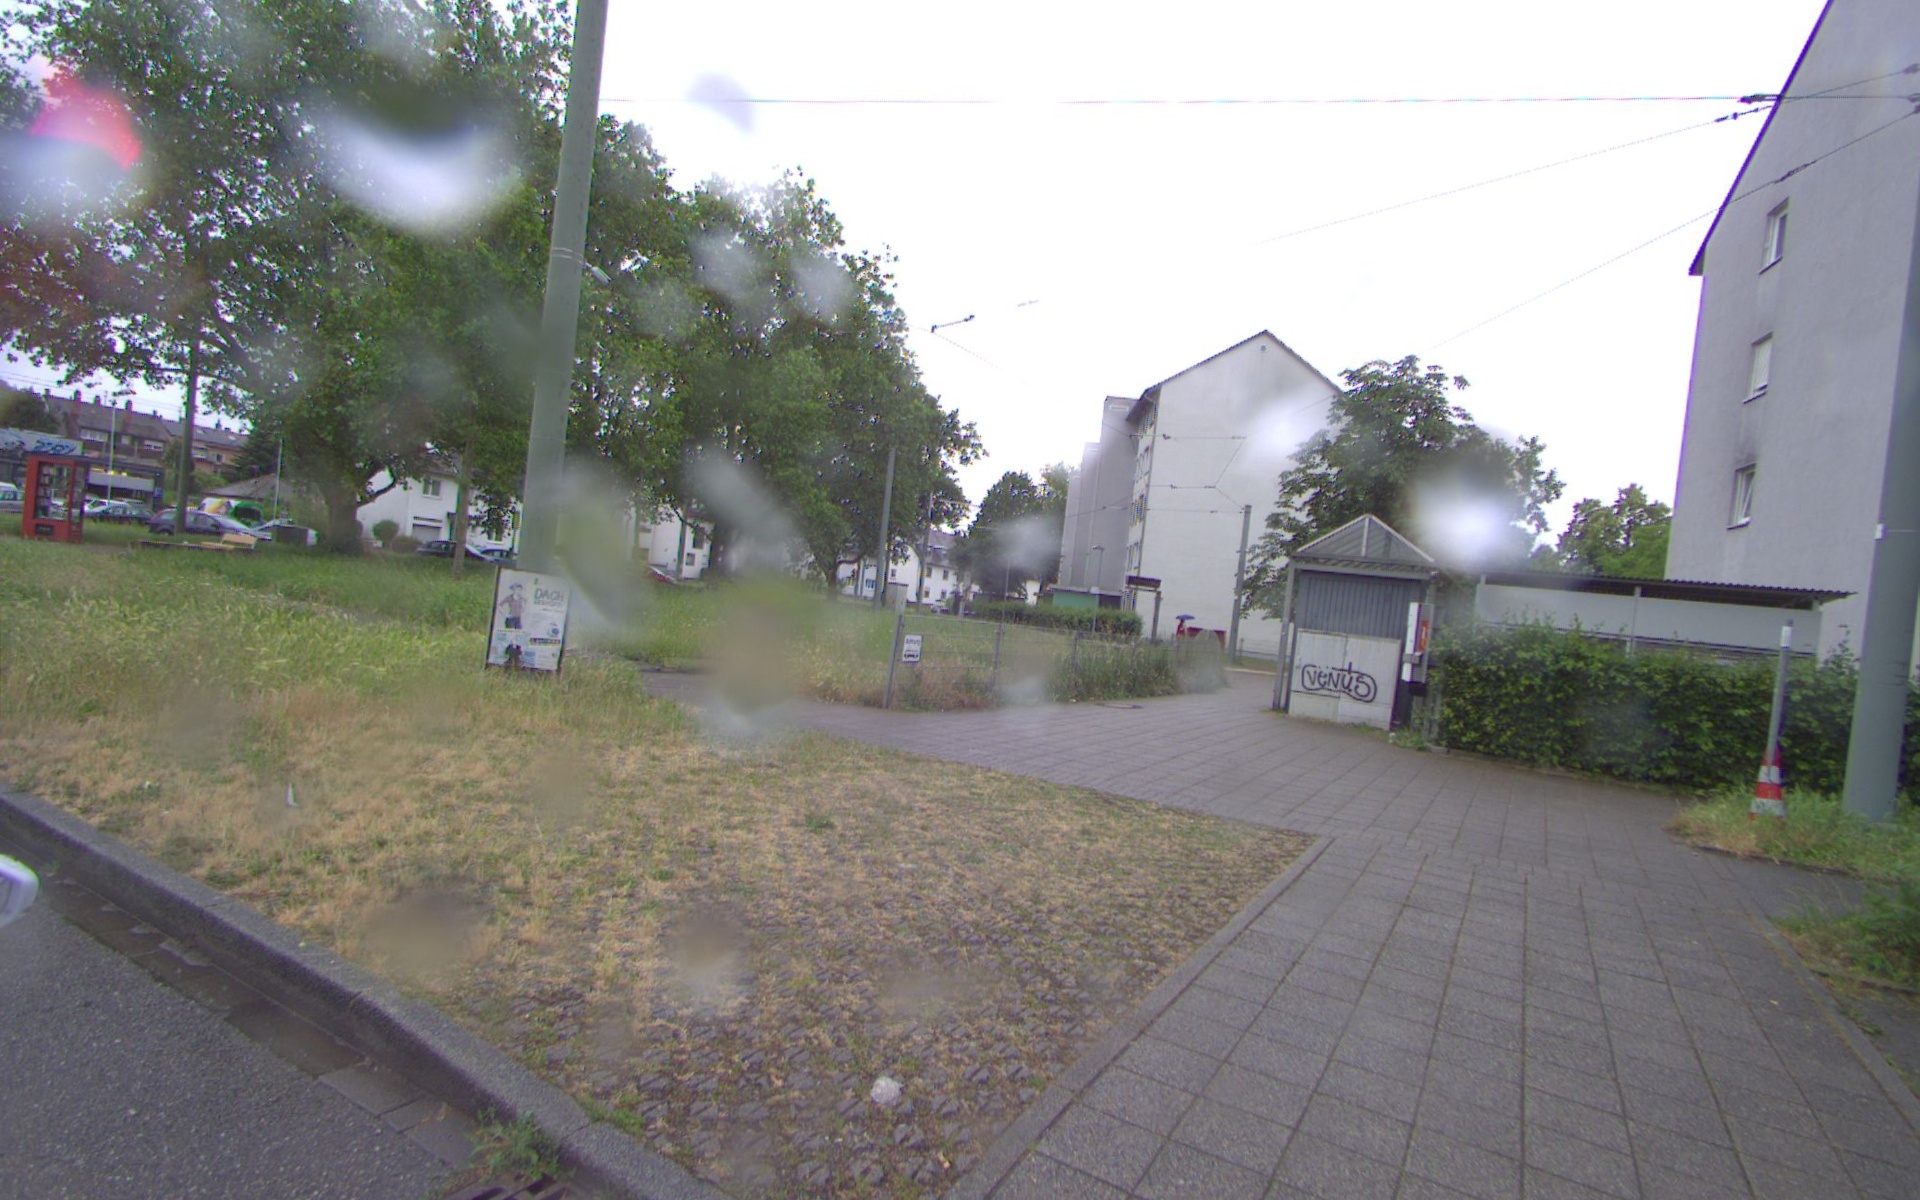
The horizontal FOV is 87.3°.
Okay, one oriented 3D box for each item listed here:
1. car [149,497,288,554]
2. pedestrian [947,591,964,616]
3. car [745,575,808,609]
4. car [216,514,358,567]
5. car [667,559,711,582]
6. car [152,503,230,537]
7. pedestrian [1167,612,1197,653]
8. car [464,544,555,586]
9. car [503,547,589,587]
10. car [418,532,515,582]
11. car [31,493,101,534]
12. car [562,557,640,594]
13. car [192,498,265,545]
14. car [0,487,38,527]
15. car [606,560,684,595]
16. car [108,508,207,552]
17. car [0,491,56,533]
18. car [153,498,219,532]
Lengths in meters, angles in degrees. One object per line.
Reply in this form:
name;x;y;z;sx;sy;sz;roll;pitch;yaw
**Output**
car;-29.175;-2.890;39.706;3.855;1.512;1.806;8;-2;-15
pedestrian;-0.369;0.268;75.894;1.022;1.811;0.818;7;-1;-3
car;-12.744;-0.541;70.104;3.843;1.785;1.812;7;-2;0
car;-25.163;-2.201;37.712;1.819;1.300;3.987;6;-3;39
car;-25.714;-2.792;95.526;1.859;1.679;3.692;6;-2;32
car;-55.467;-5.755;72.607;1.816;1.658;3.995;6;-2;32
pedestrian;9.814;1.437;44.483;0.806;1.674;0.889;6;-1;41
car;-22.805;-1.740;51.065;3.855;1.512;1.806;8;-2;-15
car;-21.981;-1.721;53.501;3.855;1.512;1.806;8;-2;-15
car;-23.732;-2.035;48.531;3.710;1.819;1.806;8;-2;-15
car;-50.139;-4.867;56.390;3.938;1.811;1.995;6;-2;36
car;-20.113;-1.353;56.534;3.855;1.512;1.806;8;-2;-15
car;-46.747;-5.048;64.270;4.280;2.471;1.998;6;-2;31
car;-54.726;-5.447;56.355;1.966;1.973;3.997;6;-2;30
car;-18.630;-1.327;59.591;3.842;1.513;1.812;7;-2;3
car;-43.429;-3.775;54.512;1.859;1.720;3.692;6;-2;32
car;-46.585;-4.423;48.729;1.859;1.720;3.692;6;-2;32
car;-62.154;-6.834;80.819;3.924;2.037;2.003;7;-2;14
